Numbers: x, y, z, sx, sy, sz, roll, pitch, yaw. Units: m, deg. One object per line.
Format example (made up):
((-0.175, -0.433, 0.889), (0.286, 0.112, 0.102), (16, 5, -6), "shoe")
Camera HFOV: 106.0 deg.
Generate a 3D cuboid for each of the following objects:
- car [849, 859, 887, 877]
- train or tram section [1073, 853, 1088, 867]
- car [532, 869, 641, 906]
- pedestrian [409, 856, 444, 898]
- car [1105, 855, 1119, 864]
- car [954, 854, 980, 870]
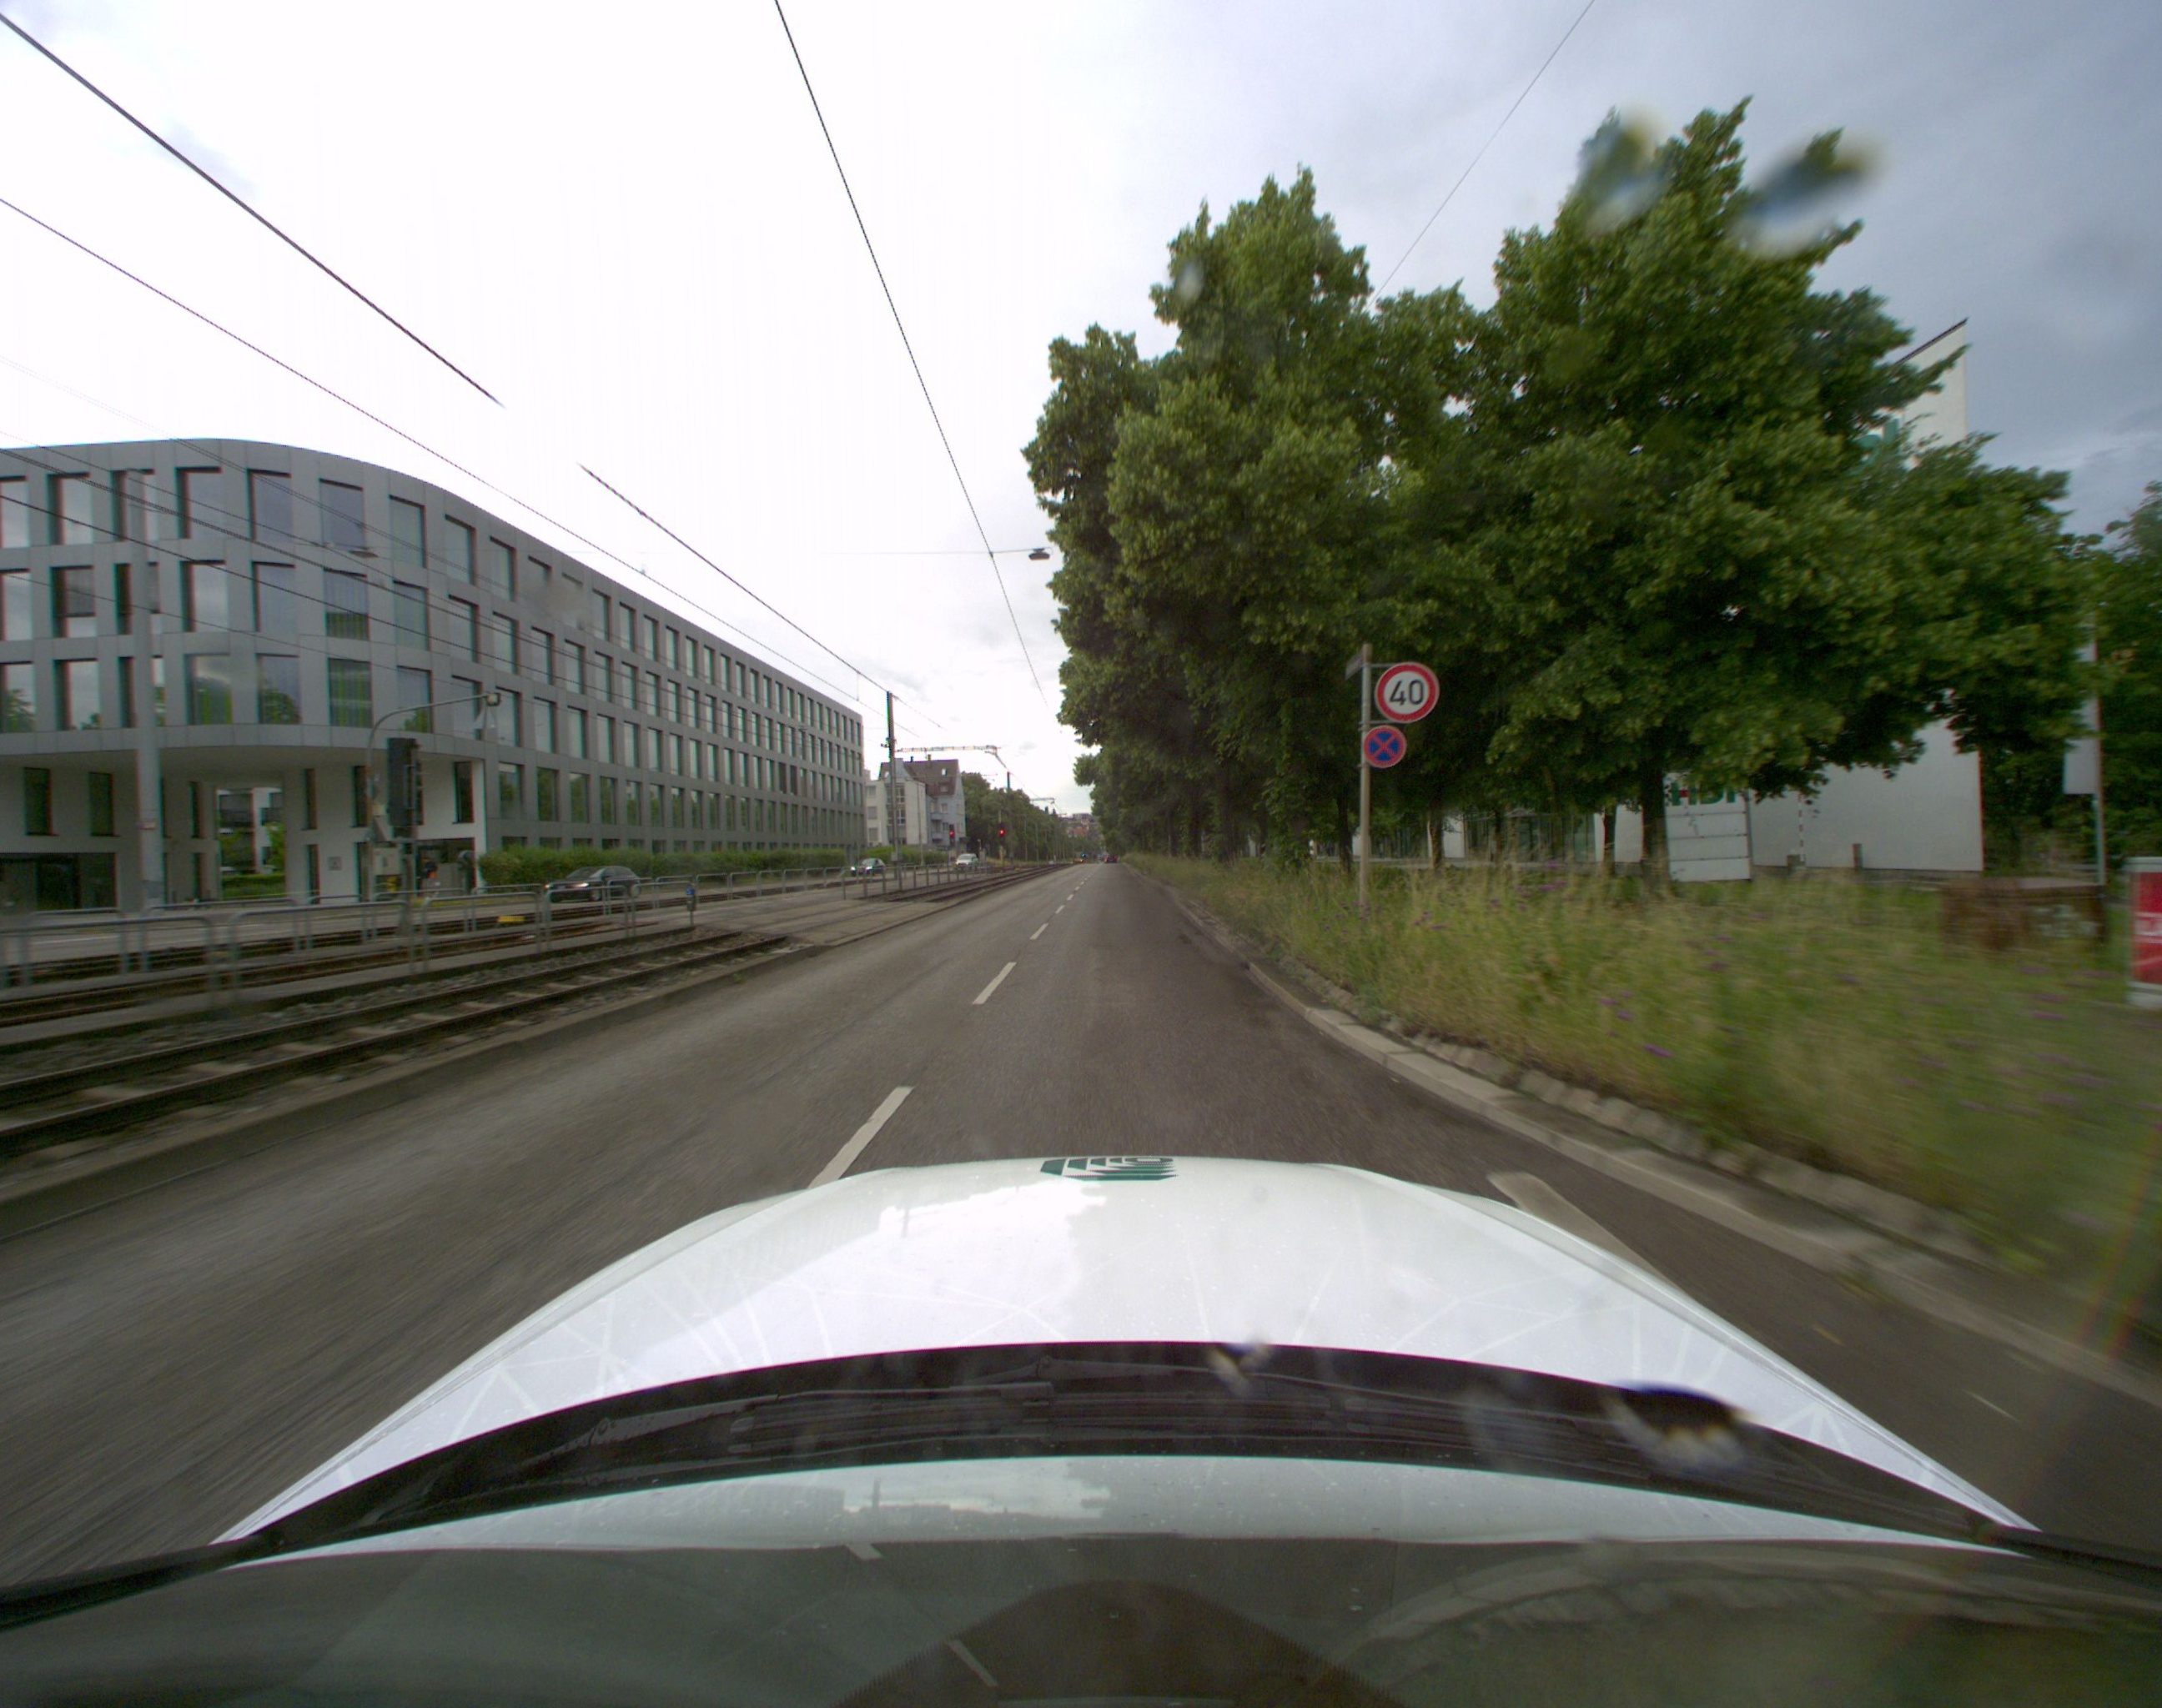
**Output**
((-17.180, 1.144, 65.893), (1.791, 1.347, 4.261), (-2, -1, 2), "car")
((-0.036, 1.815, 239.555), (3.200, 3.796, 14.801), (-2, -1, 4), "train or tram section")
((-19.486, 1.284, 32.320), (1.749, 1.244, 3.990), (-2, -1, 2), "car")
((-26.432, 0.926, 32.915), (0.721, 1.648, 0.846), (-1, -1, 2), "pedestrian")
((4.834, 0.865, 126.688), (1.974, 1.440, 4.476), (-2, -1, 2), "car")
((-12.441, 0.872, 89.069), (1.894, 1.645, 4.888), (-2, -1, 3), "car")
